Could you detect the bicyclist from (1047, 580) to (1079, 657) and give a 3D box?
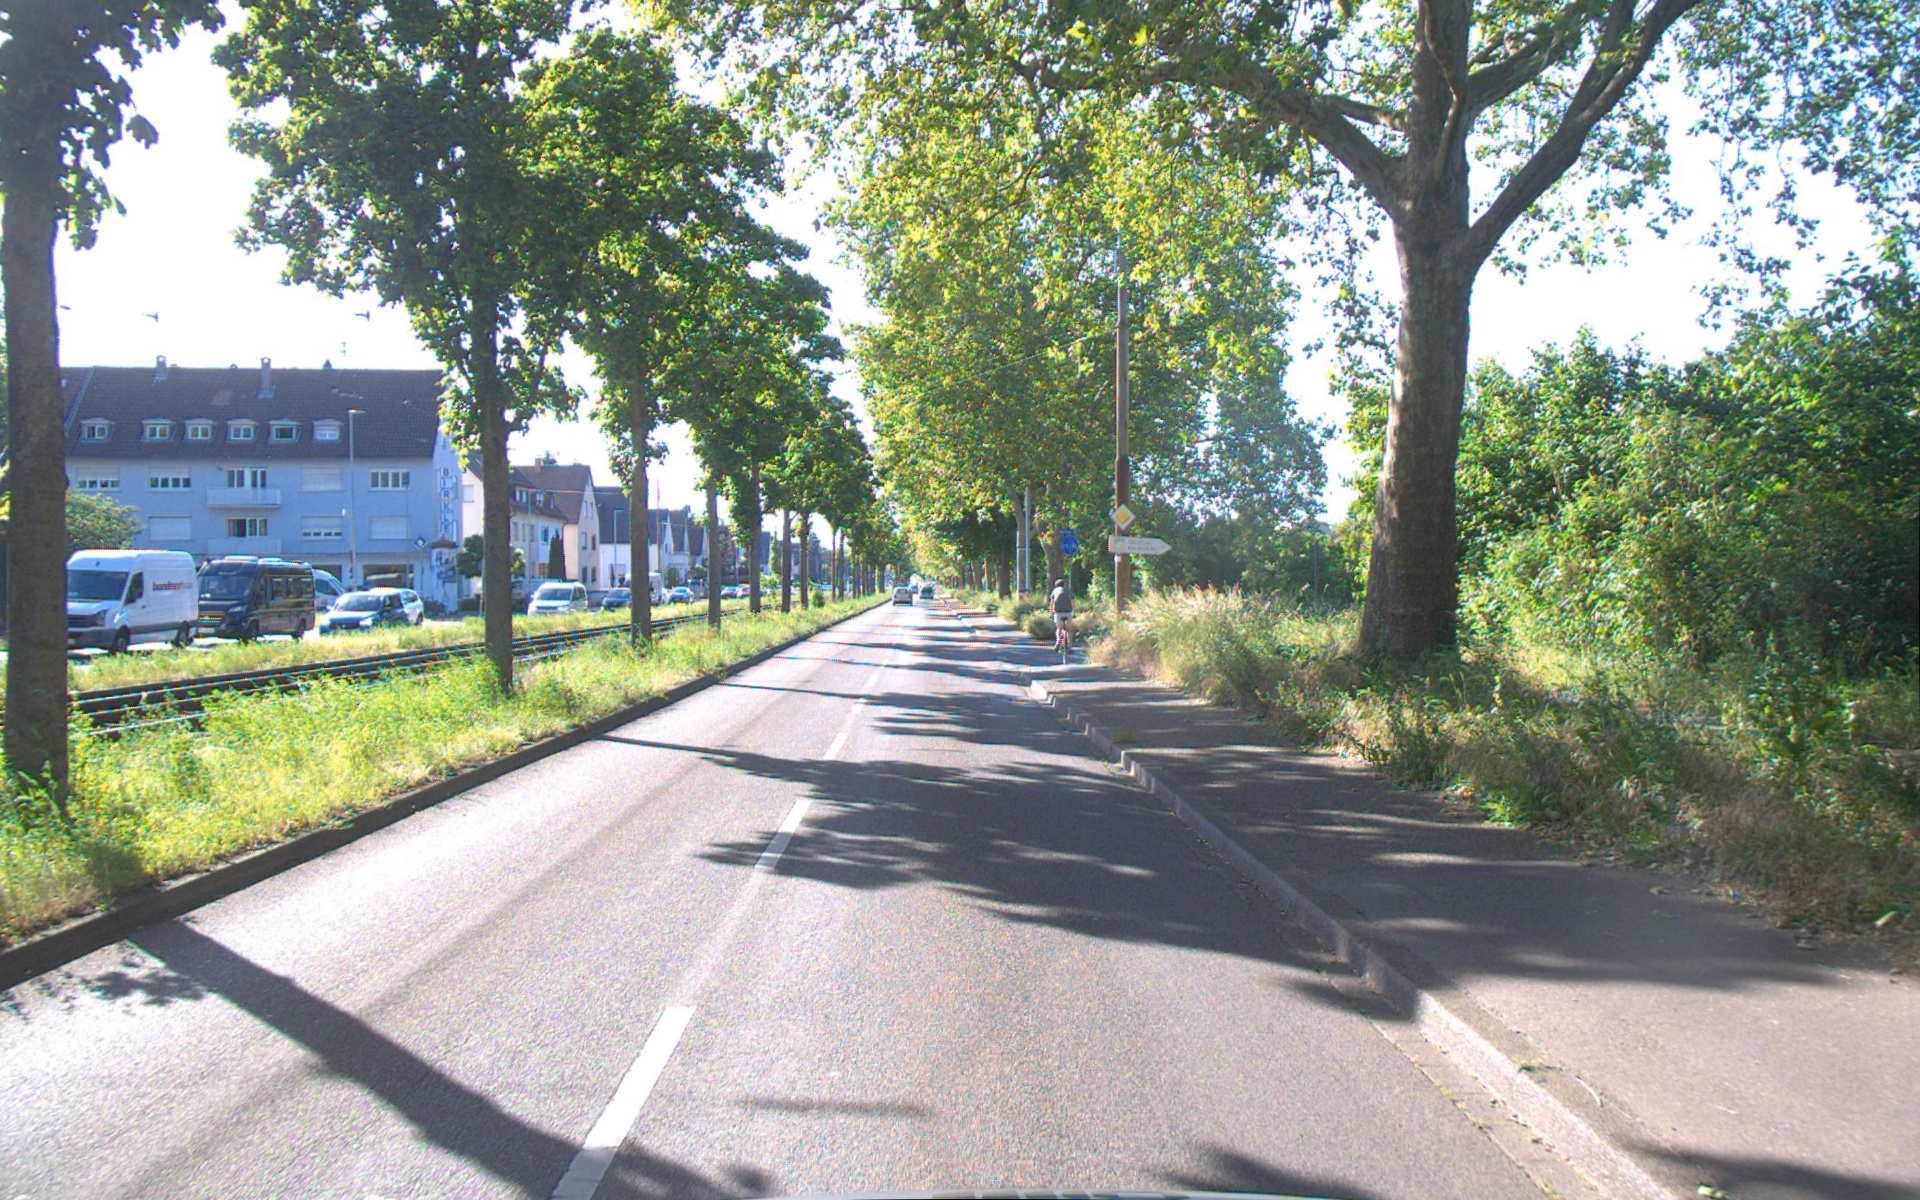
[{"bbox_3d":[2.239,0.399,36.002,0.601,1.657,0.909,0,0,-2],"label":"bicyclist"}]

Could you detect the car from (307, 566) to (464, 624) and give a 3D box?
[{"bbox_3d":[-28.592,-0.249,82.501,6.929,2.551,2.328,2,0,-6],"label":"car"}]

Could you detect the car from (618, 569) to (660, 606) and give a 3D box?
[{"bbox_3d":[-23.710,-0.891,122.408,1.953,2.502,6.672,2,0,-2],"label":"car"}]

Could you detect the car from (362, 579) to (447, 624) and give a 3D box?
[{"bbox_3d":[-22.052,0.076,65.814,1.786,1.635,4.772,2,0,-1],"label":"car"}]

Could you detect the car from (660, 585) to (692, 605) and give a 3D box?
[{"bbox_3d":[-24.267,-0.443,141.597,1.953,1.609,4.497,3,0,-1],"label":"car"}]

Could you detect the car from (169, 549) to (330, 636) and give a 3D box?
[{"bbox_3d":[-21.558,-0.190,50.576,2.138,2.418,6.463,2,0,-1],"label":"car"}]

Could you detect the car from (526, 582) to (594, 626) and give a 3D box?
[{"bbox_3d":[-17.302,0.184,71.749,1.774,1.775,4.980,2,0,-1],"label":"car"}]

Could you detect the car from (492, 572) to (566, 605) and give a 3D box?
[{"bbox_3d":[-28.241,-0.738,108.412,4.536,1.979,1.994,2,0,-12],"label":"car"}]

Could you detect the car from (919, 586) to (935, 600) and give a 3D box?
[{"bbox_3d":[-3.766,-0.803,190.380,1.725,1.539,3.276,2,0,-1],"label":"car"}]

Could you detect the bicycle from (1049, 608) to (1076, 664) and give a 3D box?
[{"bbox_3d":[2.225,0.776,36.033,0.431,1.173,1.822,0,0,-1],"label":"bicycle"}]

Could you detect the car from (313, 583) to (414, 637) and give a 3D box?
[{"bbox_3d":[-16.831,0.284,46.844,1.525,1.419,3.819,2,0,-2],"label":"car"}]

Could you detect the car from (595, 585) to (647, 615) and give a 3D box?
[{"bbox_3d":[-17.801,-0.021,87.002,1.953,1.558,3.751,0,0,0],"label":"car"}]

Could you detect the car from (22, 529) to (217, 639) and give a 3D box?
[{"bbox_3d":[-21.577,-0.363,42.816,1.961,2.540,6.135,2,0,-2],"label":"car"}]

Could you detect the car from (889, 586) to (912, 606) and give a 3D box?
[{"bbox_3d":[-4.733,-0.308,131.673,1.703,1.425,3.275,3,0,-2],"label":"car"}]

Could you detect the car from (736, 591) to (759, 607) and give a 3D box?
[{"bbox_3d":[-19.191,-0.080,149.505,1.642,1.434,3.999,0,0,-1],"label":"car"}]
